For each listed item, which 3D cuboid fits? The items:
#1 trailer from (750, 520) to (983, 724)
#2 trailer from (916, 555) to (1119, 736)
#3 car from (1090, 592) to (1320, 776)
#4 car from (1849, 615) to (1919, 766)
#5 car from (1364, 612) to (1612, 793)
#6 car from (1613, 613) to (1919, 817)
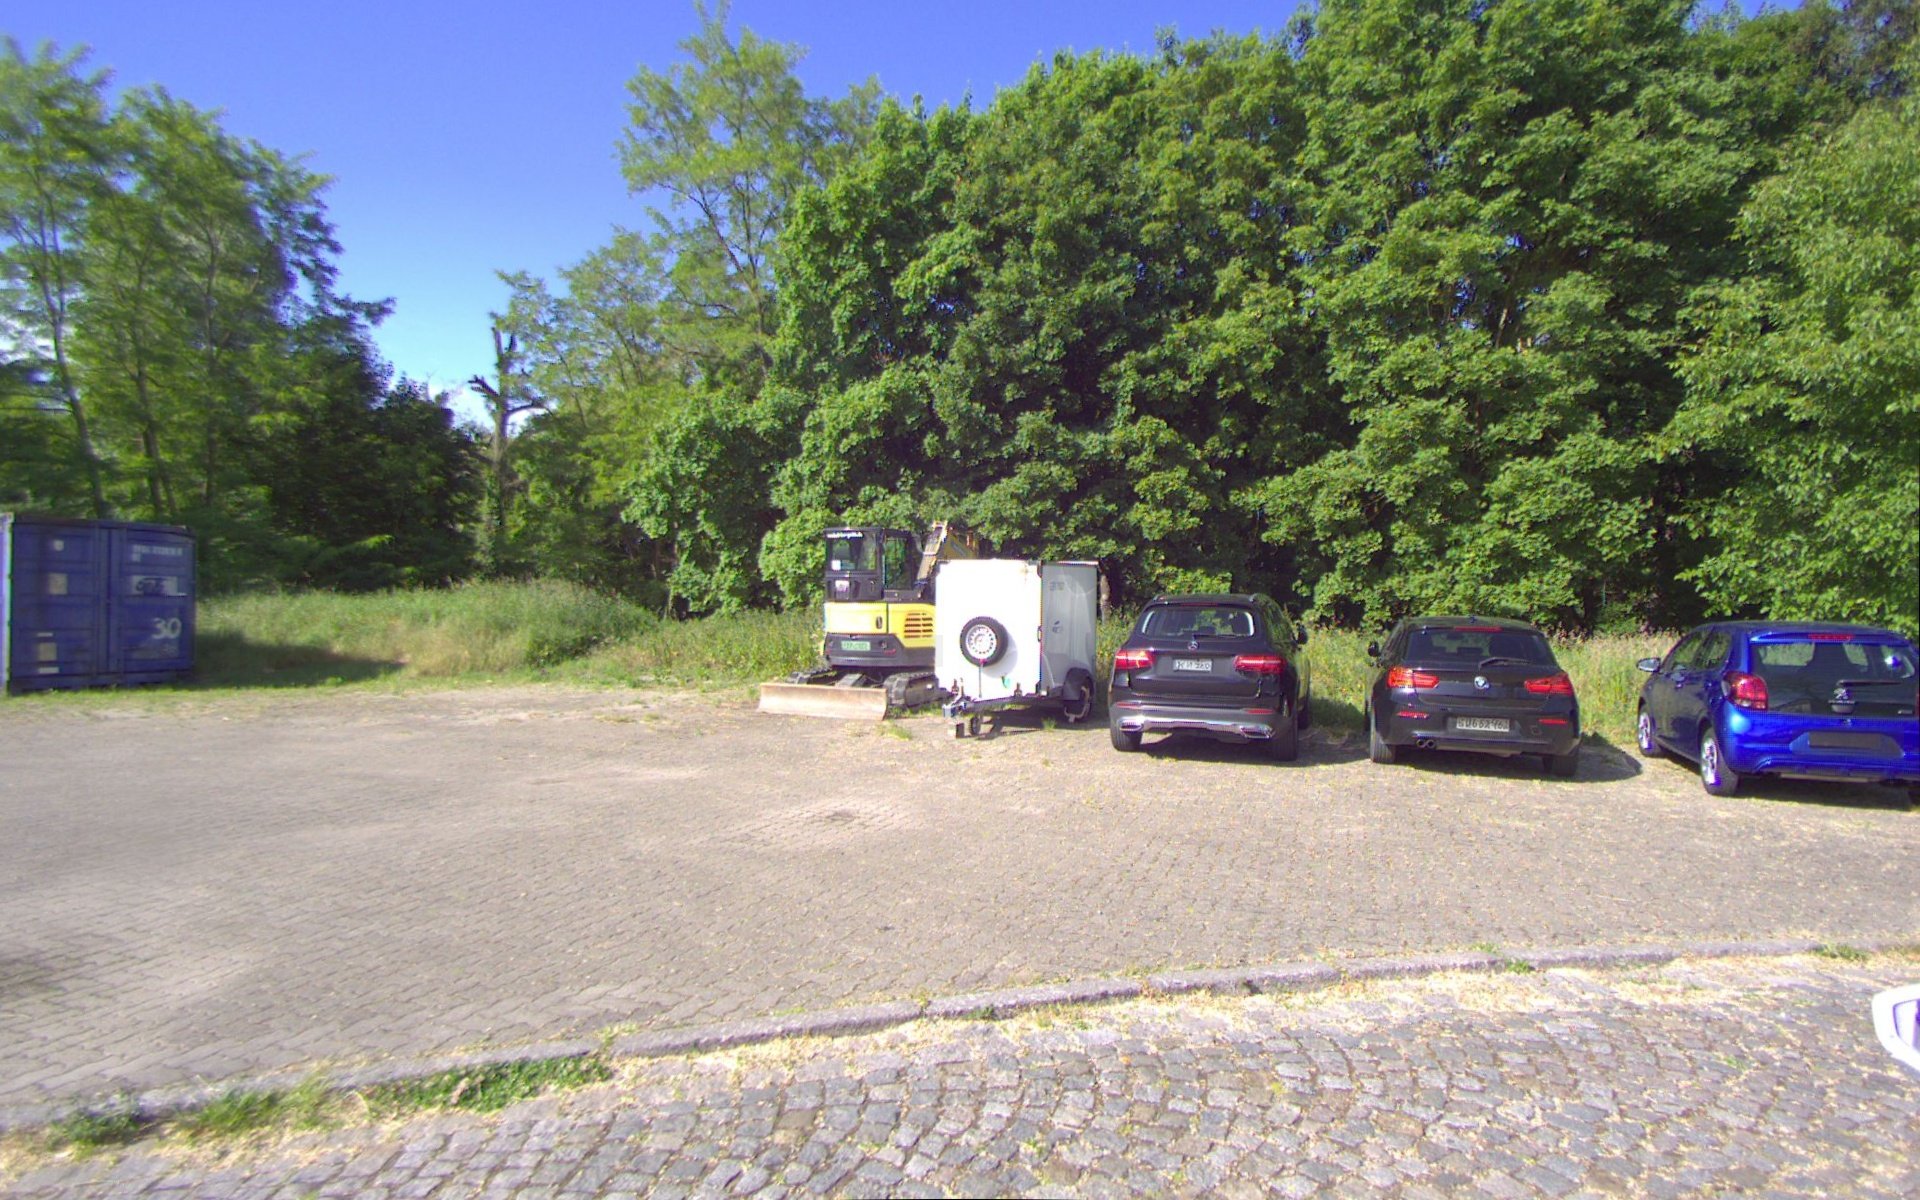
[{"bbox_3d":[-1.234,0.207,14.360,2.222,2.573,2.848,1,3,23],"label":"trailer"},{"bbox_3d":[0.853,0.514,13.232,1.789,2.078,2.848,1,0,23],"label":"trailer"},{"bbox_3d":[2.923,0.753,11.241,1.932,1.611,4.130,1,0,22],"label":"car"},{"bbox_3d":[10.441,0.930,9.817,1.712,1.470,3.720,1,1,27],"label":"car"},{"bbox_3d":[5.222,0.879,10.435,1.858,1.430,3.788,1,0,22],"label":"car"},{"bbox_3d":[7.642,0.903,9.517,1.751,1.478,3.788,1,0,23],"label":"car"}]
